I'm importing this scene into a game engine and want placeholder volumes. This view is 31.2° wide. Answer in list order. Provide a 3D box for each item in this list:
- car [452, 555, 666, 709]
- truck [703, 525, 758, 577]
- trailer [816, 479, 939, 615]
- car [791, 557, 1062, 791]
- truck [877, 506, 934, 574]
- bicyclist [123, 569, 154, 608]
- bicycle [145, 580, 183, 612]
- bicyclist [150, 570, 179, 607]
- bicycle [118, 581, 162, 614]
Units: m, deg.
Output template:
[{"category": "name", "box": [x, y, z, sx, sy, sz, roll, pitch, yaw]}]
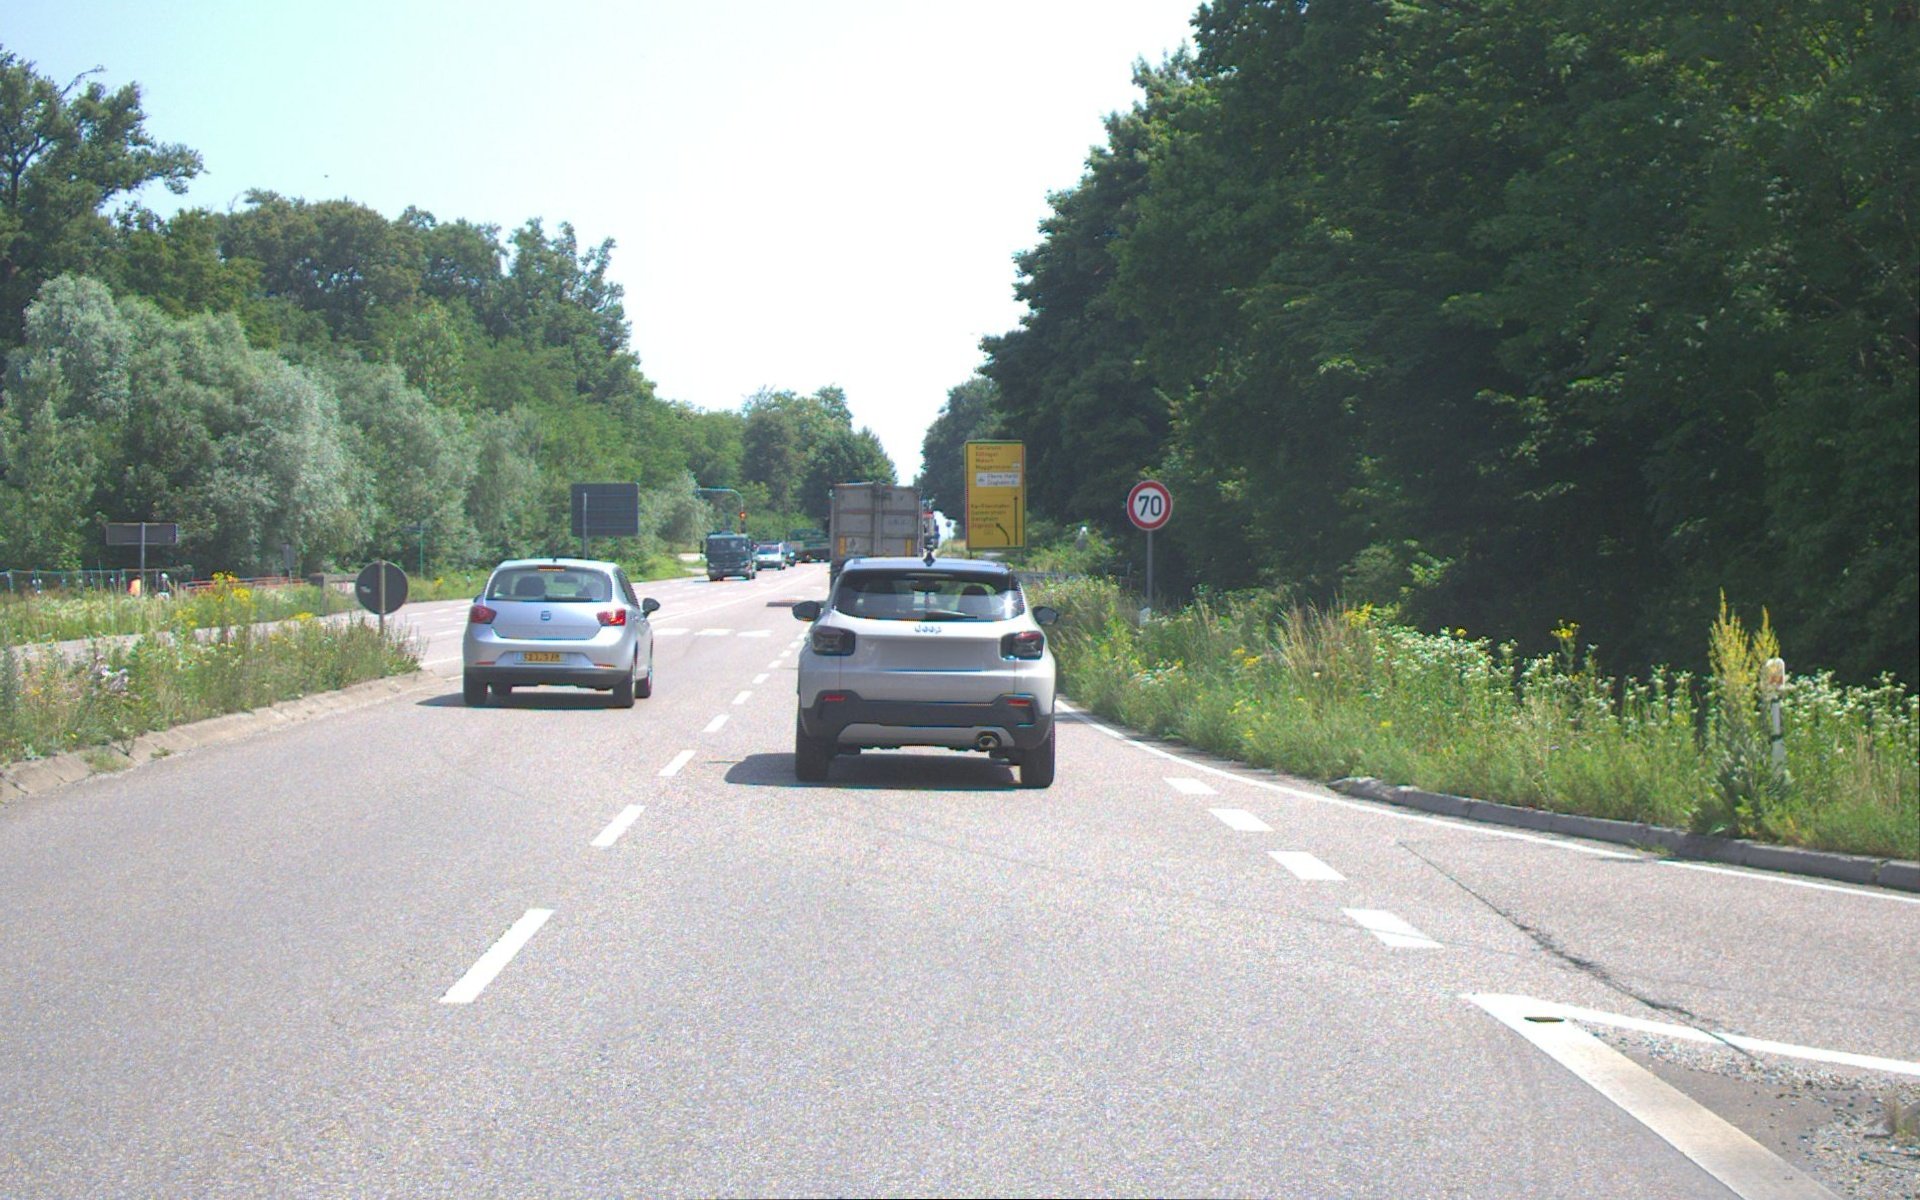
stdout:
[{"category": "car", "box": [-3.958, 0.281, 34.446, 1.666, 1.425, 3.828, 1, 1, 0]}, {"category": "truck", "box": [-12.429, -2.640, 186.425, 2.454, 2.647, 6.491, -3, 1, 0]}, {"category": "trailer", "box": [-2.466, -1.591, 106.983, 3.383, 3.975, 10.804, 1, 0, 1]}, {"category": "car", "box": [-0.214, 0.461, 24.618, 1.767, 1.529, 4.000, 0, 1, 0]}, {"category": "truck", "box": [-3.519, -3.795, 220.171, 3.497, 4.173, 10.784, 1, 0, -1]}, {"category": "bicyclist", "box": [-26.032, -0.360, 108.997, 0.757, 1.191, 0.592, -1, 1, 10]}, {"category": "bicycle", "box": [-26.106, -0.132, 112.802, 0.604, 1.002, 1.555, -1, 0, 11]}, {"category": "bicyclist", "box": [-26.084, -0.389, 112.695, 0.735, 1.191, 0.591, -1, 0, 11]}, {"category": "bicycle", "box": [-26.008, -0.077, 109.045, 0.676, 1.002, 1.800, -1, 1, 9]}]
